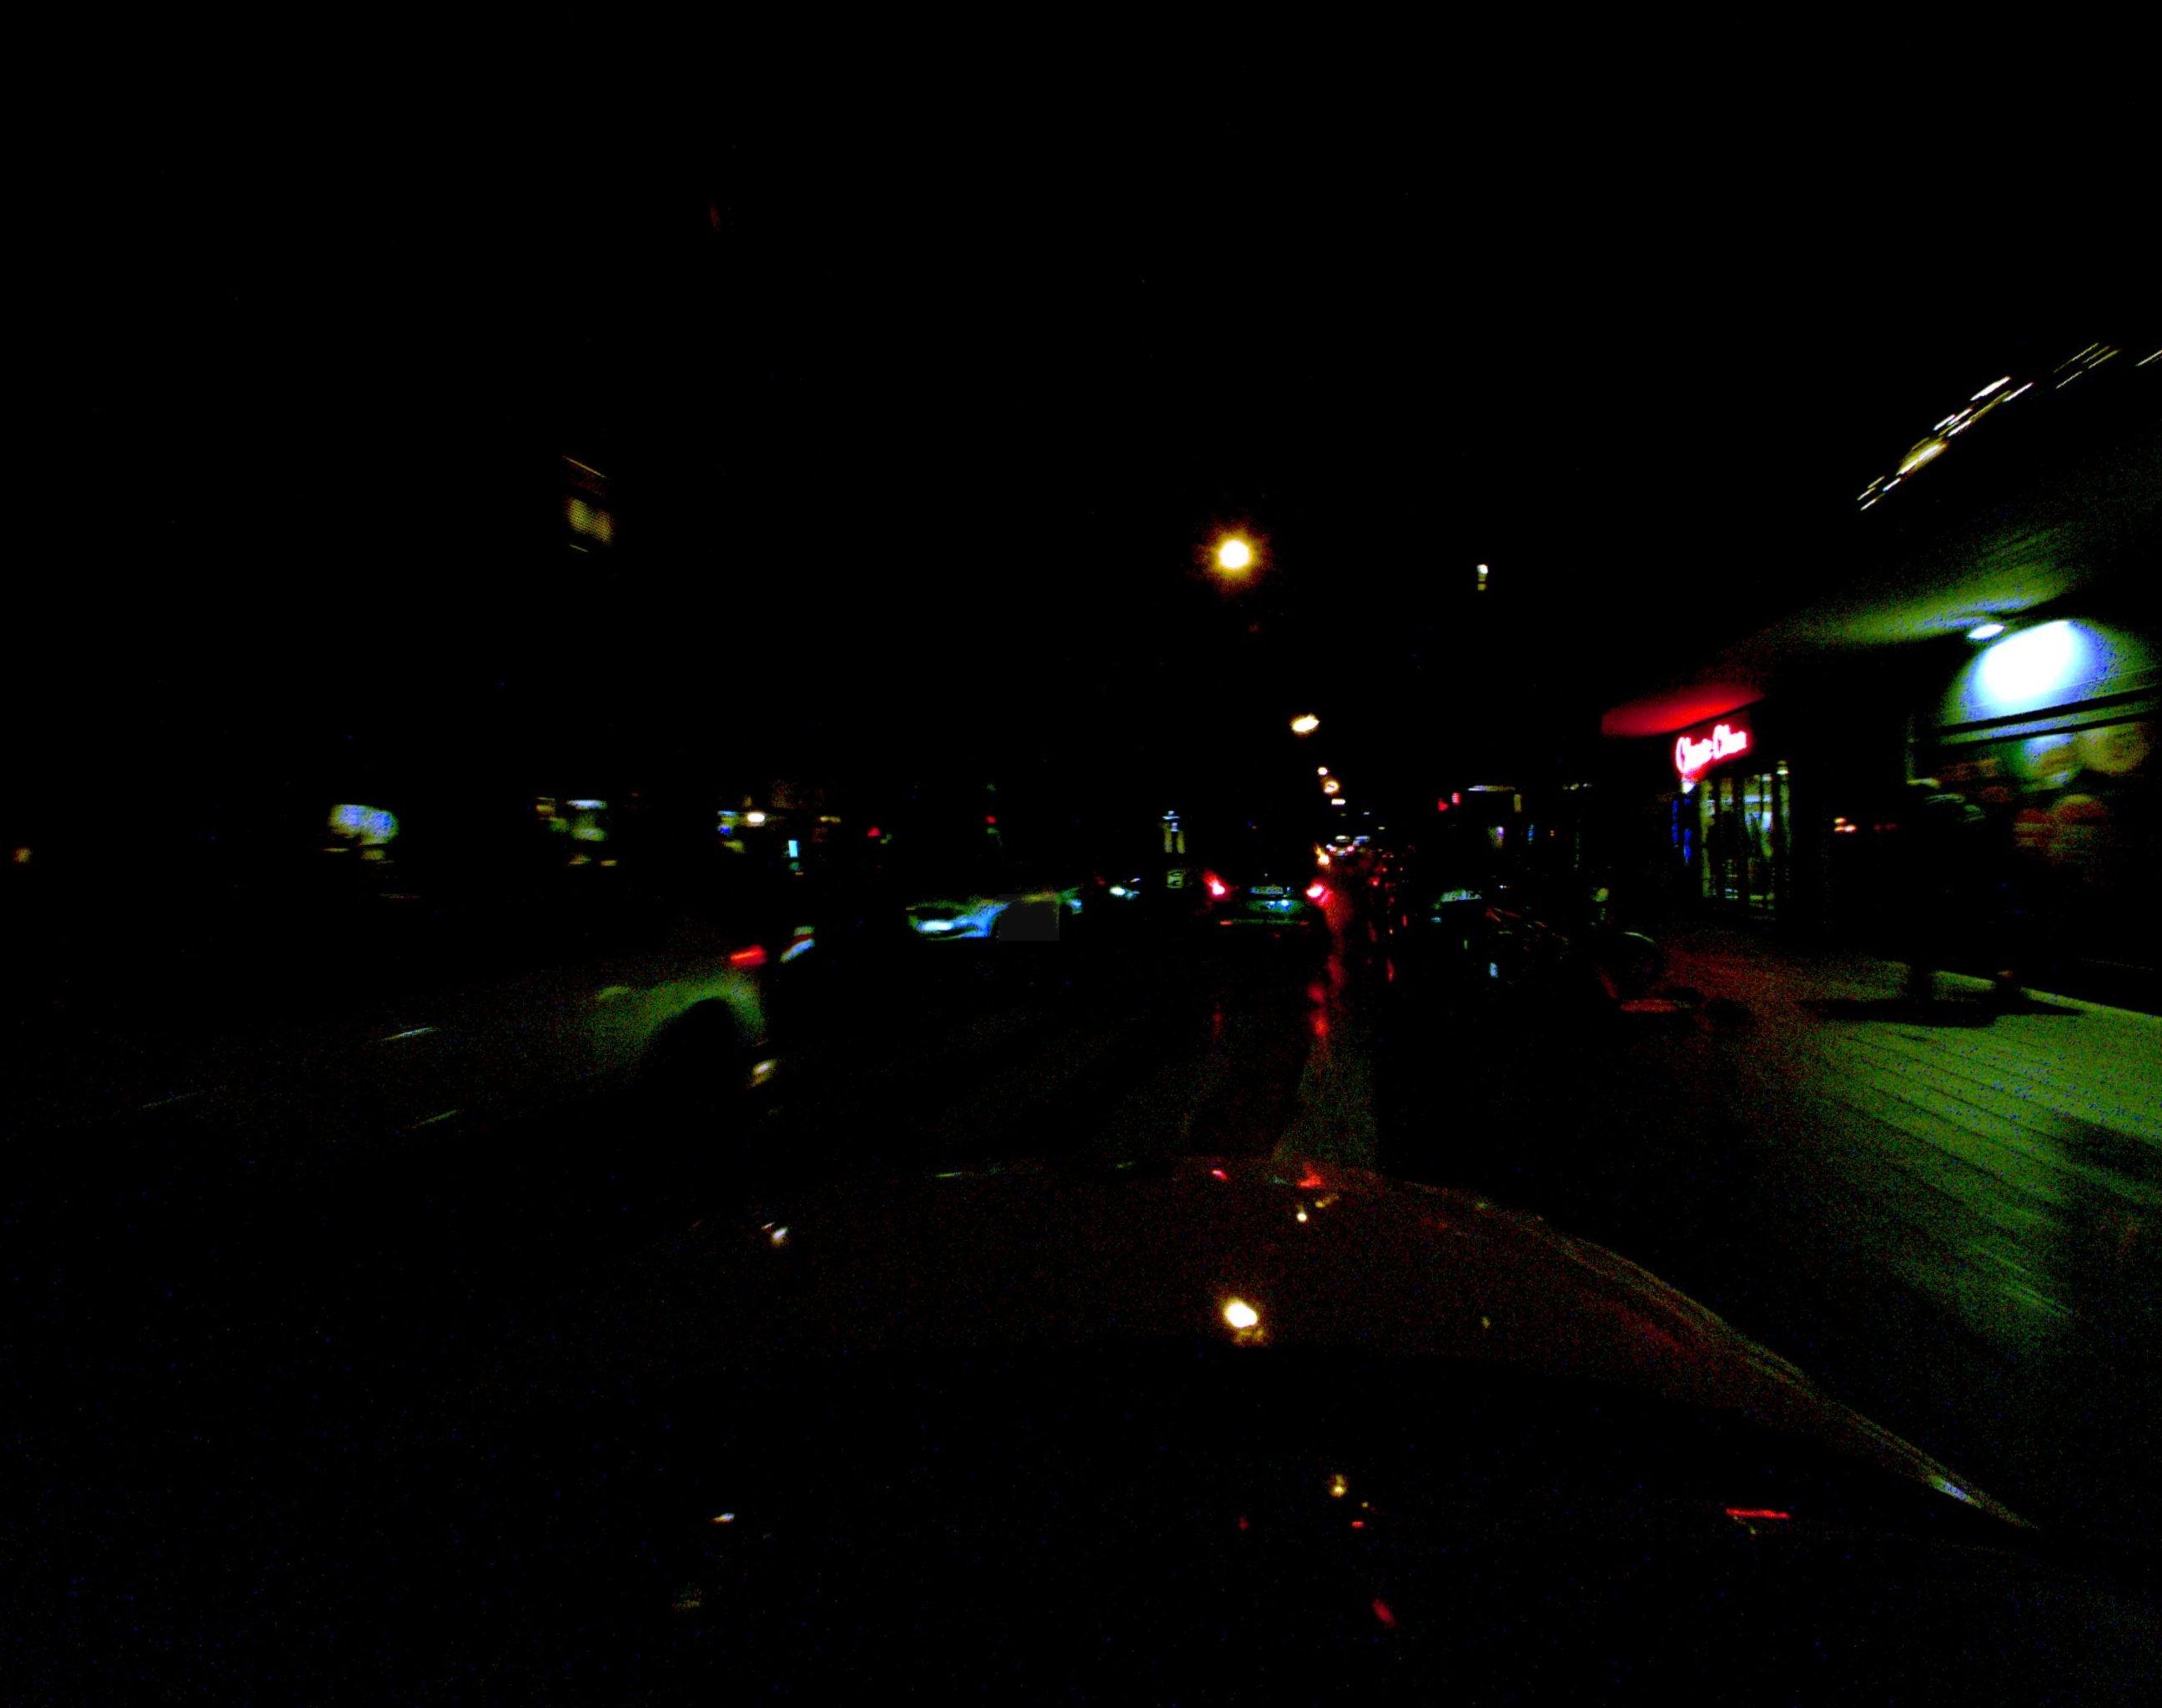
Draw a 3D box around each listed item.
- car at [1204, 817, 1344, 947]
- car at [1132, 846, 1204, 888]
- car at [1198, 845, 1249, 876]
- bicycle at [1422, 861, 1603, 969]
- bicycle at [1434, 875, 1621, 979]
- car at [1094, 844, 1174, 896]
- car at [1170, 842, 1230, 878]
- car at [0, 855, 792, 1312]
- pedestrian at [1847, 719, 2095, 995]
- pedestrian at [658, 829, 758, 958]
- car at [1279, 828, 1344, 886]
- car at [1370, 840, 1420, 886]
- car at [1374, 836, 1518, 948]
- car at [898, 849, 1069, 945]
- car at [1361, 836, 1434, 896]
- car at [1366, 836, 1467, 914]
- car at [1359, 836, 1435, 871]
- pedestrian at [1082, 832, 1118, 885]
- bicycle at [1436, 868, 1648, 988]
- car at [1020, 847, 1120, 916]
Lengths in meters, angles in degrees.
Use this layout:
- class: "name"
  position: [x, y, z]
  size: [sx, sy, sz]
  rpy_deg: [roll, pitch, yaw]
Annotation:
- class: "car"
  position: [3.678, 0.406, 14.961]
  size: [2.106, 1.991, 4.622]
  rpy_deg: [-1, 1, 17]
- class: "car"
  position: [3.311, 0.424, 30.298]
  size: [1.676, 1.400, 4.338]
  rpy_deg: [-1, 1, 19]
- class: "car"
  position: [7.203, 0.265, 40.799]
  size: [1.978, 1.448, 4.019]
  rpy_deg: [1, 1, 18]
- class: "bicycle"
  position: [5.046, 0.724, 9.621]
  size: [1.748, 1.125, 0.437]
  rpy_deg: [-5, 0, 17]
- class: "bicycle"
  position: [4.908, 0.798, 9.051]
  size: [1.748, 1.079, 0.437]
  rpy_deg: [-2, 1, 17]
- class: "car"
  position: [1.721, 0.446, 25.278]
  size: [1.573, 1.448, 3.520]
  rpy_deg: [-1, 1, 19]
- class: "car"
  position: [5.375, 0.212, 36.168]
  size: [1.739, 1.448, 4.646]
  rpy_deg: [1, 2, 19]
- class: "car"
  position: [-3.699, 0.805, 4.364]
  size: [1.548, 1.427, 4.093]
  rpy_deg: [-3, 0, 26]
- class: "pedestrian"
  position: [7.690, 0.042, 7.124]
  size: [1.045, 2.208, 0.975]
  rpy_deg: [-3, -1, 18]
- class: "pedestrian"
  position: [-5.352, 0.531, 11.726]
  size: [0.796, 1.766, 1.021]
  rpy_deg: [1, 1, 25]
- class: "car"
  position: [8.390, 0.062, 29.752]
  size: [2.107, 1.922, 4.846]
  rpy_deg: [0, 1, 15]
- class: "car"
  position: [11.302, 0.303, 29.461]
  size: [1.579, 1.543, 3.437]
  rpy_deg: [0, 0, 19]
- class: "car"
  position: [5.912, 0.524, 13.634]
  size: [1.739, 1.565, 4.173]
  rpy_deg: [0, 0, 17]
- class: "car"
  position: [-1.689, 0.690, 15.477]
  size: [1.573, 1.463, 4.044]
  rpy_deg: [2, 2, 19]
- class: "car"
  position: [9.215, 0.312, 23.966]
  size: [1.739, 1.608, 4.008]
  rpy_deg: [0, 0, 17]
- class: "car"
  position: [7.371, 0.406, 18.245]
  size: [1.739, 1.538, 4.418]
  rpy_deg: [0, 0, 17]
- class: "car"
  position: [19.715, 0.001, 50.935]
  size: [3.971, 2.014, 2.001]
  rpy_deg: [-2, -1, 2]
- class: "pedestrian"
  position: [0.692, 0.148, 28.868]
  size: [1.023, 1.864, 0.982]
  rpy_deg: [1, 0, 18]
- class: "bicycle"
  position: [4.577, 0.738, 8.190]
  size: [1.769, 1.125, 0.437]
  rpy_deg: [-2, 1, 17]
- class: "car"
  position: [-0.198, 0.619, 19.984]
  size: [1.573, 1.509, 2.801]
  rpy_deg: [-1, 1, 19]
